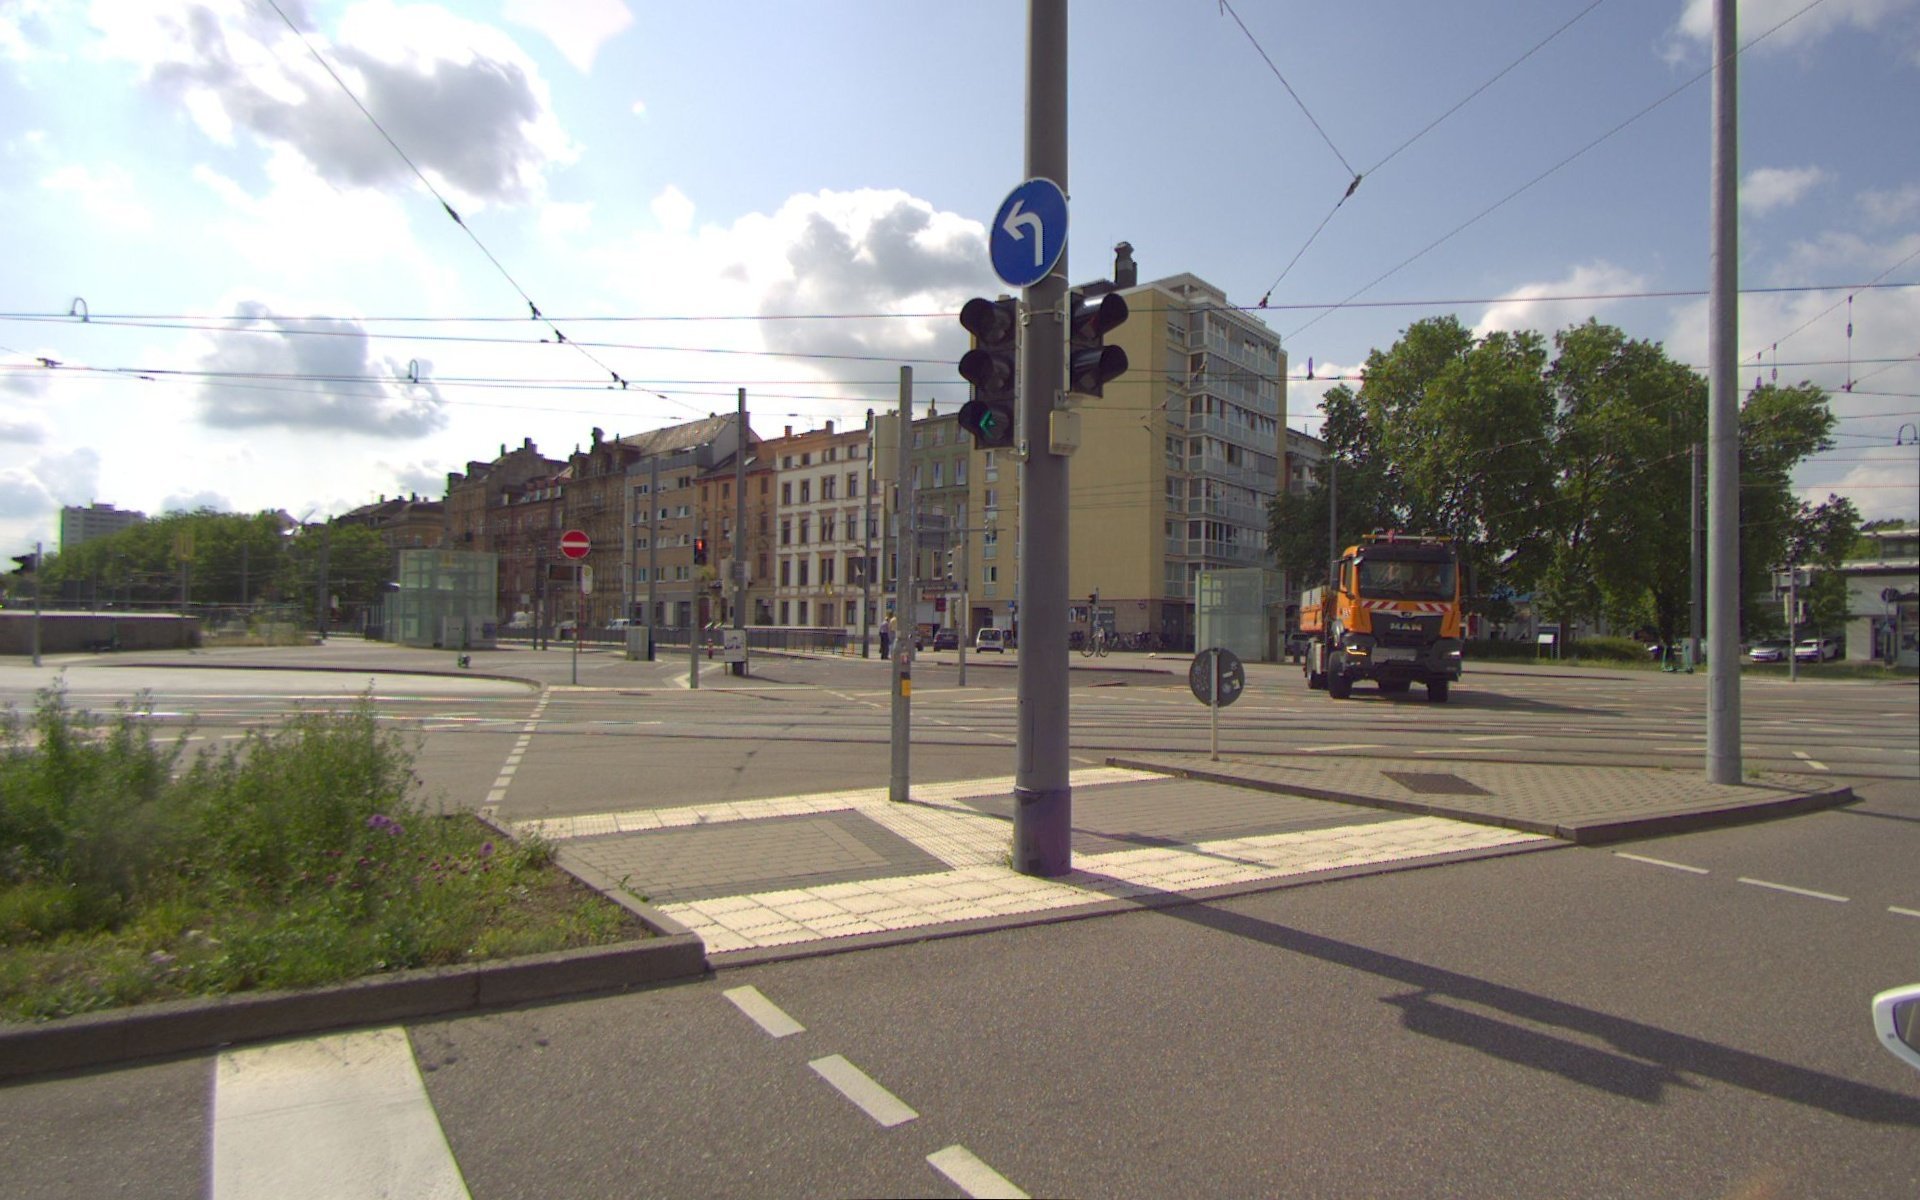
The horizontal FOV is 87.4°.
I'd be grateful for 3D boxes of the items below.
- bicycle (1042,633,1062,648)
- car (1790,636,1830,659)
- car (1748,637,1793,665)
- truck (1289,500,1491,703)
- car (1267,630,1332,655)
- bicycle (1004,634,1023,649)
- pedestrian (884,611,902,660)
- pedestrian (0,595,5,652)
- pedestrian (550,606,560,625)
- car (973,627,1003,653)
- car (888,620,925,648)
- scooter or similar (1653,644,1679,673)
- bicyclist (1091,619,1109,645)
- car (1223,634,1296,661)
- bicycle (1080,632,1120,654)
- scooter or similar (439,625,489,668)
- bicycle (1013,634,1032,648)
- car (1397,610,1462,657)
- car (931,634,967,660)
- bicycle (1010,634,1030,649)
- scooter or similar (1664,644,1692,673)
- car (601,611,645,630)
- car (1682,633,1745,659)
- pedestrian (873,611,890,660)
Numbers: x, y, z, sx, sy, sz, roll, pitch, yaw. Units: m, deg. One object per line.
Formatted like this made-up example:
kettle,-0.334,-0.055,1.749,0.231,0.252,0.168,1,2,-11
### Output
bicycle,6.161,2.707,67.582,1.444,0.935,0.291,2,0,43
car,65.923,3.651,77.896,3.968,1.704,1.770,2,-2,-40
car,64.345,4.042,79.690,3.968,2.040,1.977,3,1,-40
truck,10.110,0.073,24.585,2.779,4.062,8.077,2,0,11
car,24.395,3.024,72.187,4.036,1.534,1.800,2,0,42
bicycle,3.661,2.848,69.055,1.442,0.935,0.292,1,-1,40
pedestrian,-2.815,1.470,42.200,0.568,2.040,0.426,0,-1,31
pedestrian,-30.642,0.725,31.540,0.552,1.818,0.720,1,-1,-5
pedestrian,-41.845,1.590,103.716,0.681,1.928,0.664,0,-1,24
car,1.698,2.428,60.107,1.743,1.472,3.498,1,-3,2
car,-3.364,2.143,63.805,2.021,1.669,4.597,1,-1,0
scooter or similar,30.467,2.522,43.356,0.374,1.212,1.065,2,0,6
bicyclist,7.292,1.670,52.398,0.772,1.354,0.393,3,0,-21
car,18.897,2.969,63.415,4.036,1.534,1.800,0,-2,42
bicycle,7.325,2.267,52.459,2.069,1.121,0.542,2,-1,-21
scooter or similar,-14.339,1.334,29.031,1.148,1.182,0.811,0,-2,33
bicycle,4.316,2.846,69.502,1.442,0.935,0.292,1,-1,40
car,32.451,2.311,69.304,1.972,3.083,7.209,0,-2,43
car,-0.627,2.882,61.601,1.900,1.479,4.602,1,-2,3
bicycle,4.110,2.848,69.260,1.442,0.935,0.292,2,-1,40
scooter or similar,31.074,2.520,43.486,0.374,1.212,1.064,3,0,-4
car,-34.752,2.093,103.542,4.677,1.886,1.993,-1,-3,37
car,66.533,4.020,88.754,1.974,2.040,3.973,3,0,-26
pedestrian,-3.334,1.513,42.712,0.506,2.040,0.502,0,-1,31
